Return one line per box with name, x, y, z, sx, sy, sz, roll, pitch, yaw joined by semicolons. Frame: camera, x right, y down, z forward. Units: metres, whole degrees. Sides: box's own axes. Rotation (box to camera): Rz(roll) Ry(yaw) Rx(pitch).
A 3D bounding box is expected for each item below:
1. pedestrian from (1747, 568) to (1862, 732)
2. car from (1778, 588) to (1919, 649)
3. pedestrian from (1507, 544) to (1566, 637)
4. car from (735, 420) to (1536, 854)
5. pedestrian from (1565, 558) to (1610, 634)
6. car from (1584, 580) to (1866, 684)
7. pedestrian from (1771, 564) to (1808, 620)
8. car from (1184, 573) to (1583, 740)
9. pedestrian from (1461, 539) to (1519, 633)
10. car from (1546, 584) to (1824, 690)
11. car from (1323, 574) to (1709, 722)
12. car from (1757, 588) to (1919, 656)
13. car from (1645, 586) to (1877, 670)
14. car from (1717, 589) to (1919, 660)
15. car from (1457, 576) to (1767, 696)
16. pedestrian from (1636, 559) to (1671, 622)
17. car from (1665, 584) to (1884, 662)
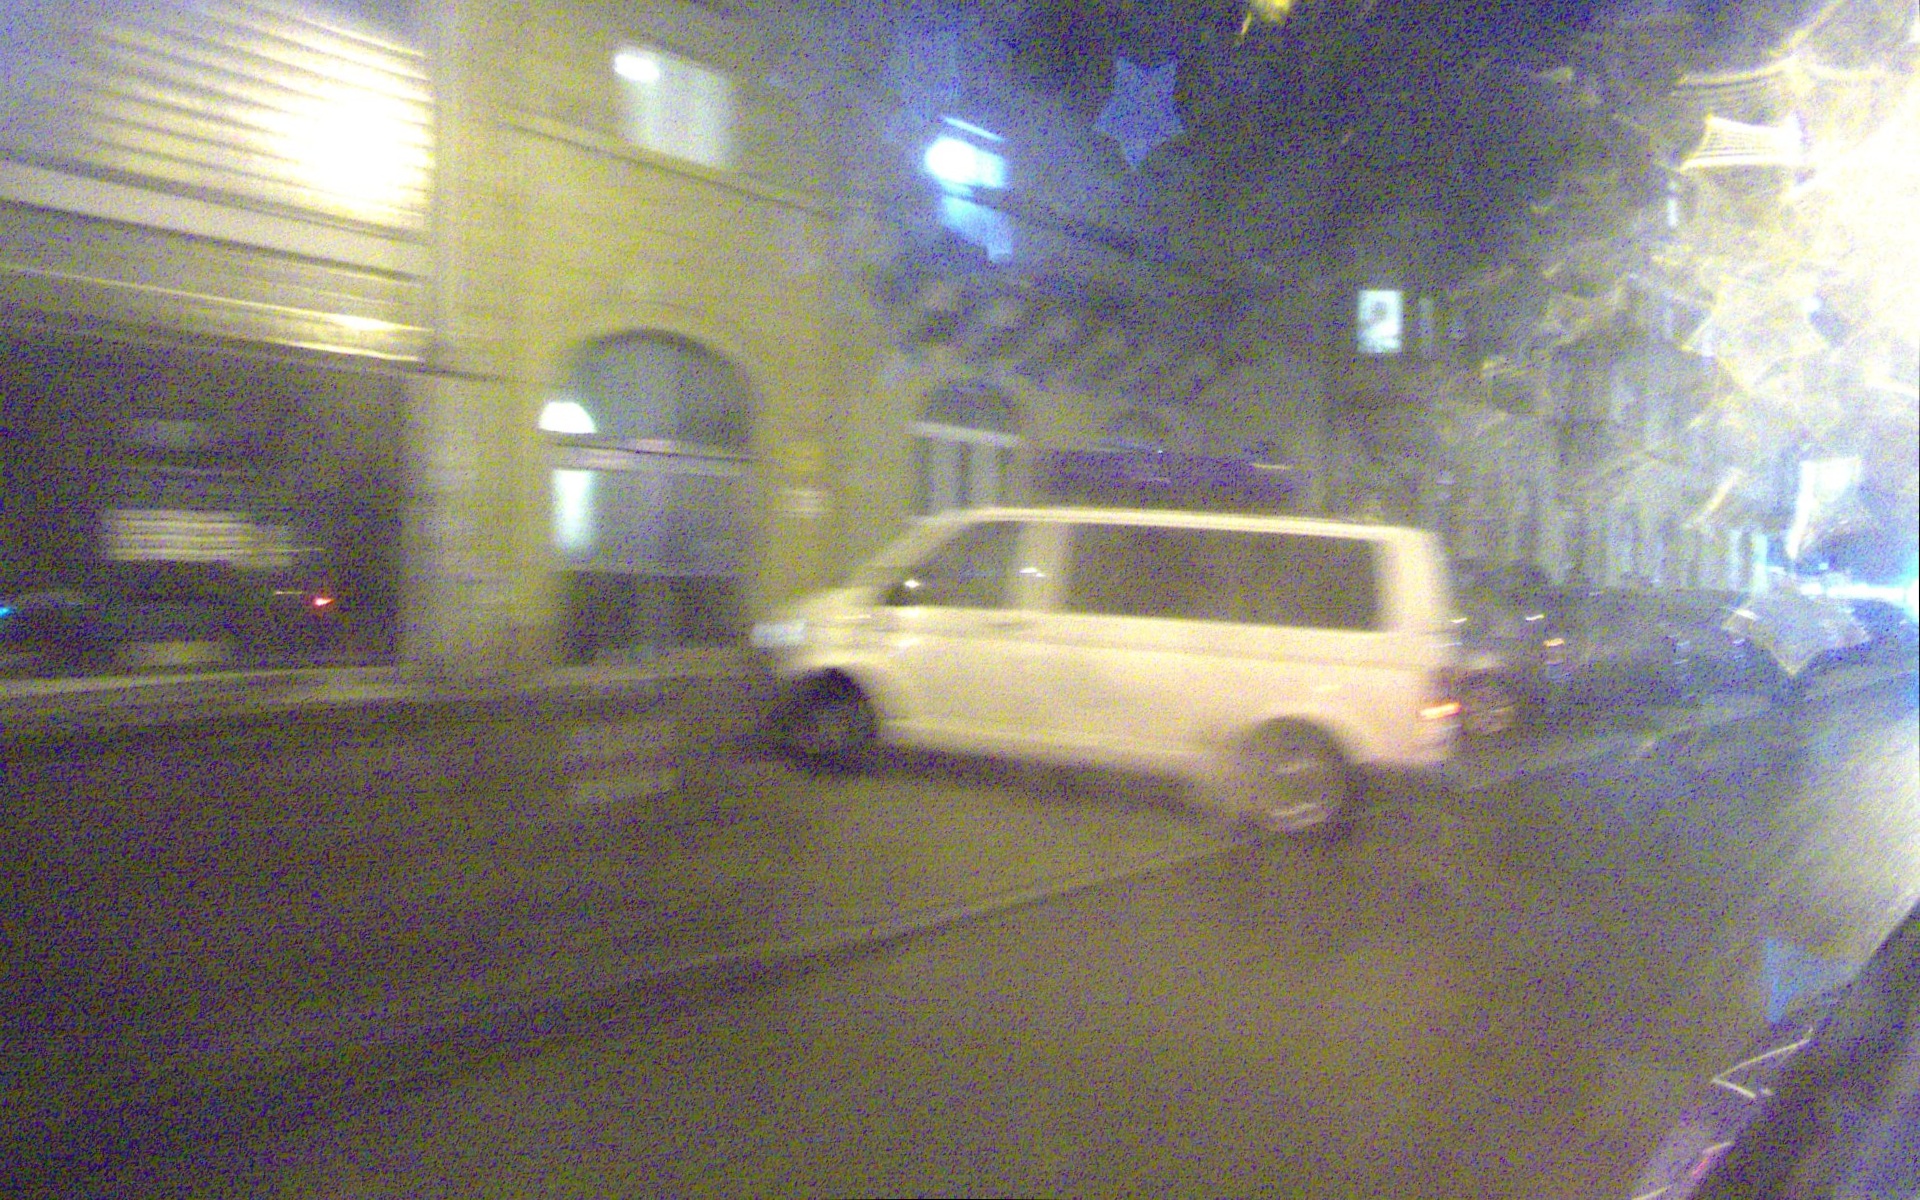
pedestrian;9.856;0.540;11.808;1.157;1.792;0.824;0;1;-40
car;25.294;0.501;28.101;3.545;1.580;1.706;1;1;12
pedestrian;12.007;-0.191;21.075;0.855;1.864;0.747;3;0;-41
car;1.101;0.129;7.316;4.874;2.370;2.220;1;1;17
pedestrian;15.460;-0.103;24.943;0.769;1.812;0.657;3;0;-41
car;14.000;0.516;18.805;3.756;1.710;1.824;2;1;21
pedestrian;29.667;-0.295;36.184;0.868;1.930;0.806;3;0;-40
car;4.425;0.516;11.011;3.684;1.486;1.603;2;1;20
pedestrian;11.216;-0.298;21.421;0.828;1.928;0.747;3;0;-40
car;11.879;0.552;16.811;3.346;1.580;1.588;1;1;14
car;6.759;0.500;12.806;4.005;1.580;1.738;1;1;22
car;23.356;0.553;26.603;3.347;1.612;1.588;2;1;14
car;16.505;0.532;21.040;3.347;1.580;1.631;1;1;15
car;21.177;0.569;24.610;4.053;1.510;1.589;2;1;13
car;9.437;0.465;14.942;3.461;1.580;1.587;1;1;15
pedestrian;19.153;-0.264;27.946;0.590;1.685;0.575;3;0;-40
car;18.272;0.469;22.876;3.435;1.580;1.628;1;1;17
